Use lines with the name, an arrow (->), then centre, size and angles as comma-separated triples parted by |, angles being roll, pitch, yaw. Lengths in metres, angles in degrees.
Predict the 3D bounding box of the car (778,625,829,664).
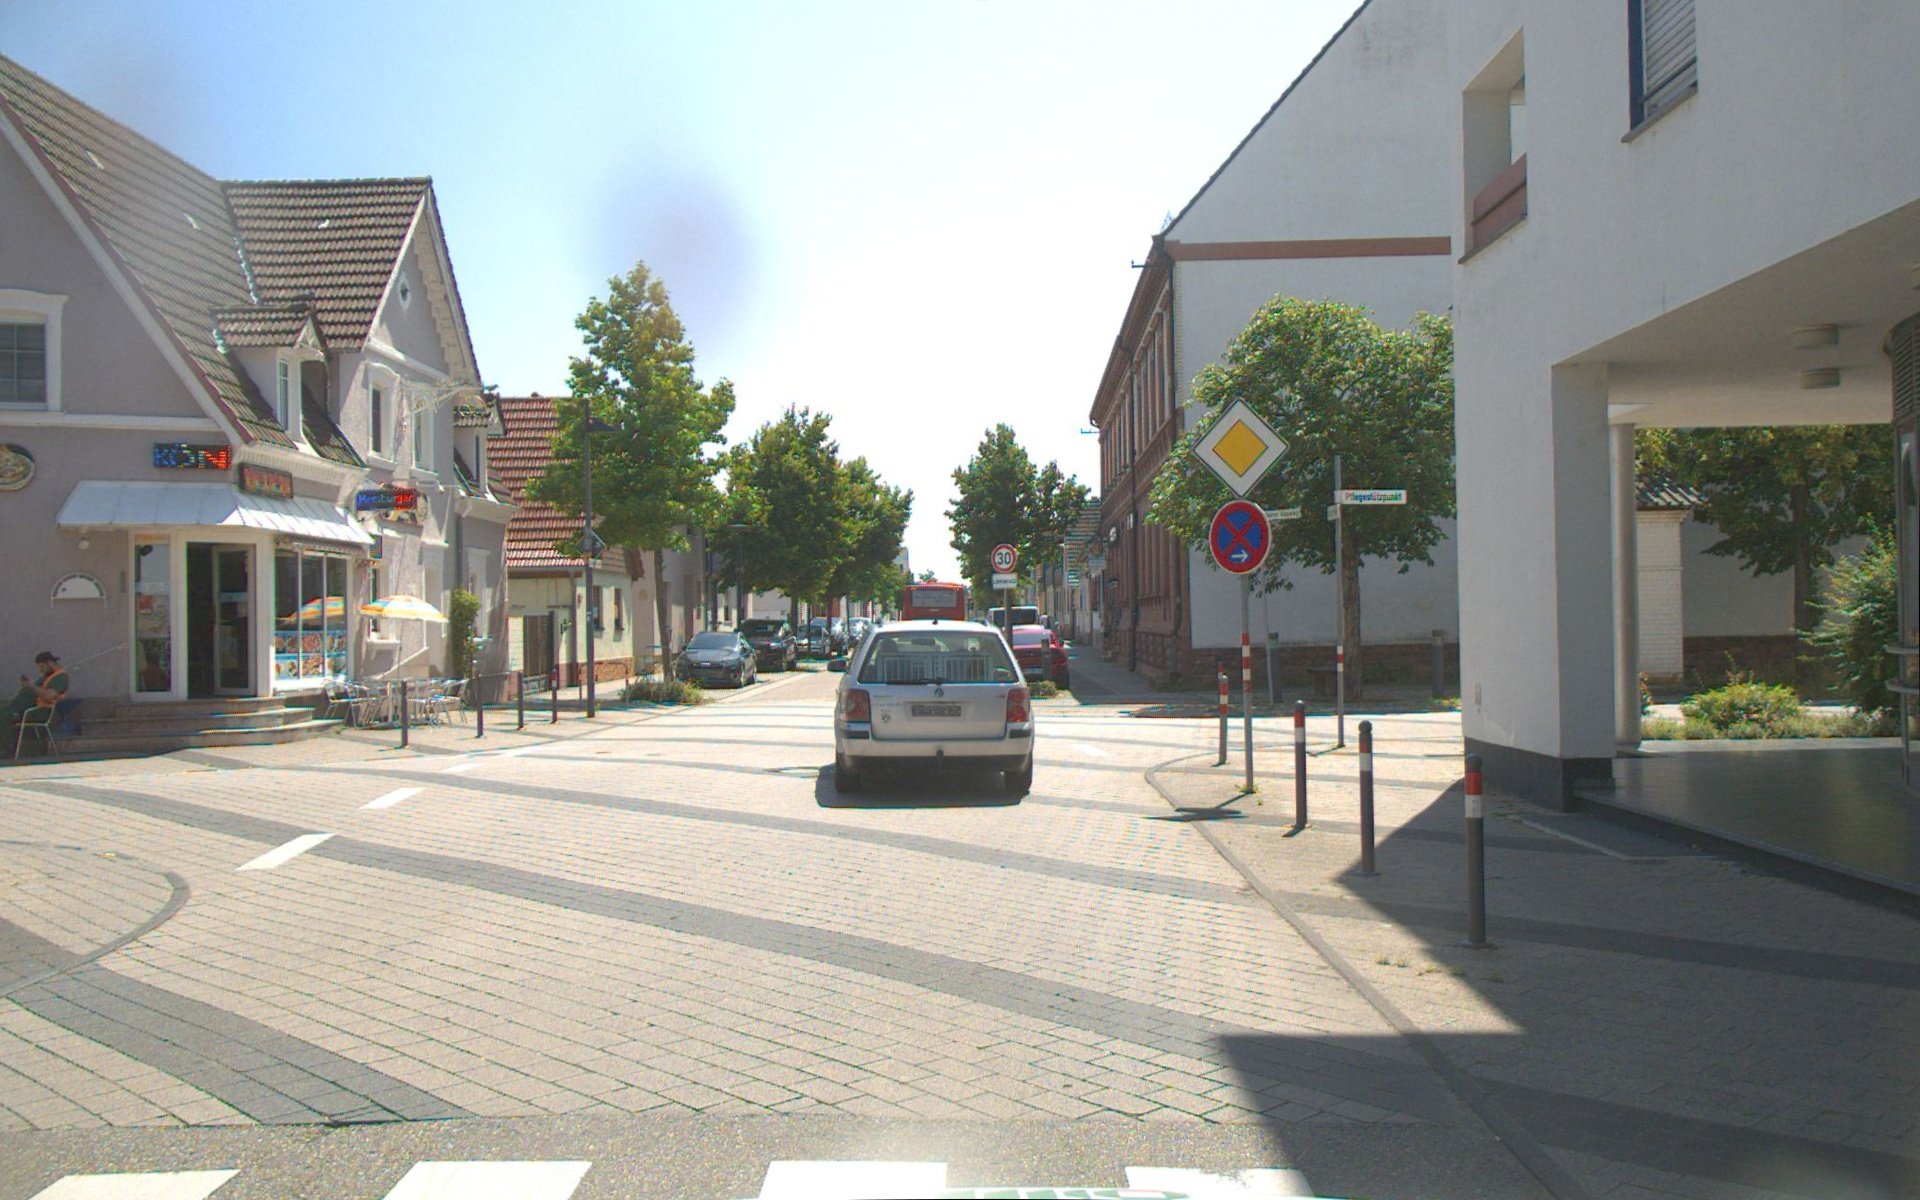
car -> -6.661, 1.864, 70.905 | 1.774, 1.586, 3.999 | -1, -1, 0

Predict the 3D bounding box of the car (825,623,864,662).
car -> -6.238, 2.275, 89.824 | 1.774, 2.030, 3.999 | -1, -1, 0

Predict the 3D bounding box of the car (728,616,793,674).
car -> -6.748, 1.512, 56.194 | 1.728, 1.870, 3.788 | -1, -1, 0

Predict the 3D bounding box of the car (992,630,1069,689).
car -> 1.657, 1.401, 39.903 | 1.684, 1.332, 3.625 | -1, -1, 0

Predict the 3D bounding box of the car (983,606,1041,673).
car -> 1.707, 1.314, 55.109 | 1.751, 2.118, 3.625 | -1, -1, 0

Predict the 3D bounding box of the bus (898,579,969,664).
bus -> -1.006, 0.972, 71.983 | 2.683, 3.356, 12.705 | -1, -1, 1

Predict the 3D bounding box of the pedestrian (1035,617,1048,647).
pedestrian -> 4.559, 1.793, 92.544 | 0.594, 1.696, 0.789 | -1, -1, -1

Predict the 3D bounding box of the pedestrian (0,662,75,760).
pedestrian -> -11.712, 1.399, 20.991 | 0.609, 1.199, 0.696 | -1, -1, -4

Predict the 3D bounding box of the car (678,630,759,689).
car -> -6.453, 1.576, 44.584 | 1.572, 1.463, 4.064 | -1, -1, 0

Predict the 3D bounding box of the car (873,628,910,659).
car -> -3.627, 2.312, 88.521 | 1.774, 1.586, 3.999 | -1, -1, 0

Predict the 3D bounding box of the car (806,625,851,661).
car -> -6.143, 2.002, 77.638 | 1.774, 1.586, 3.999 | -1, -1, 0

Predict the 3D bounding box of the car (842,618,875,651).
car -> -5.943, 2.011, 97.145 | 1.685, 1.833, 3.999 | -1, -1, 0

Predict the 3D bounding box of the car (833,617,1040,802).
car -> -0.180, 0.895, 14.991 | 1.642, 1.456, 3.679 | 0, -1, 0

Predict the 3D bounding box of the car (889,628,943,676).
car -> -1.376, 1.633, 52.751 | 1.561, 1.456, 3.679 | 0, -1, 1

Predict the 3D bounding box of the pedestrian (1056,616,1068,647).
pedestrian -> 5.670, 1.738, 92.171 | 0.594, 1.696, 0.789 | -1, -1, -1
